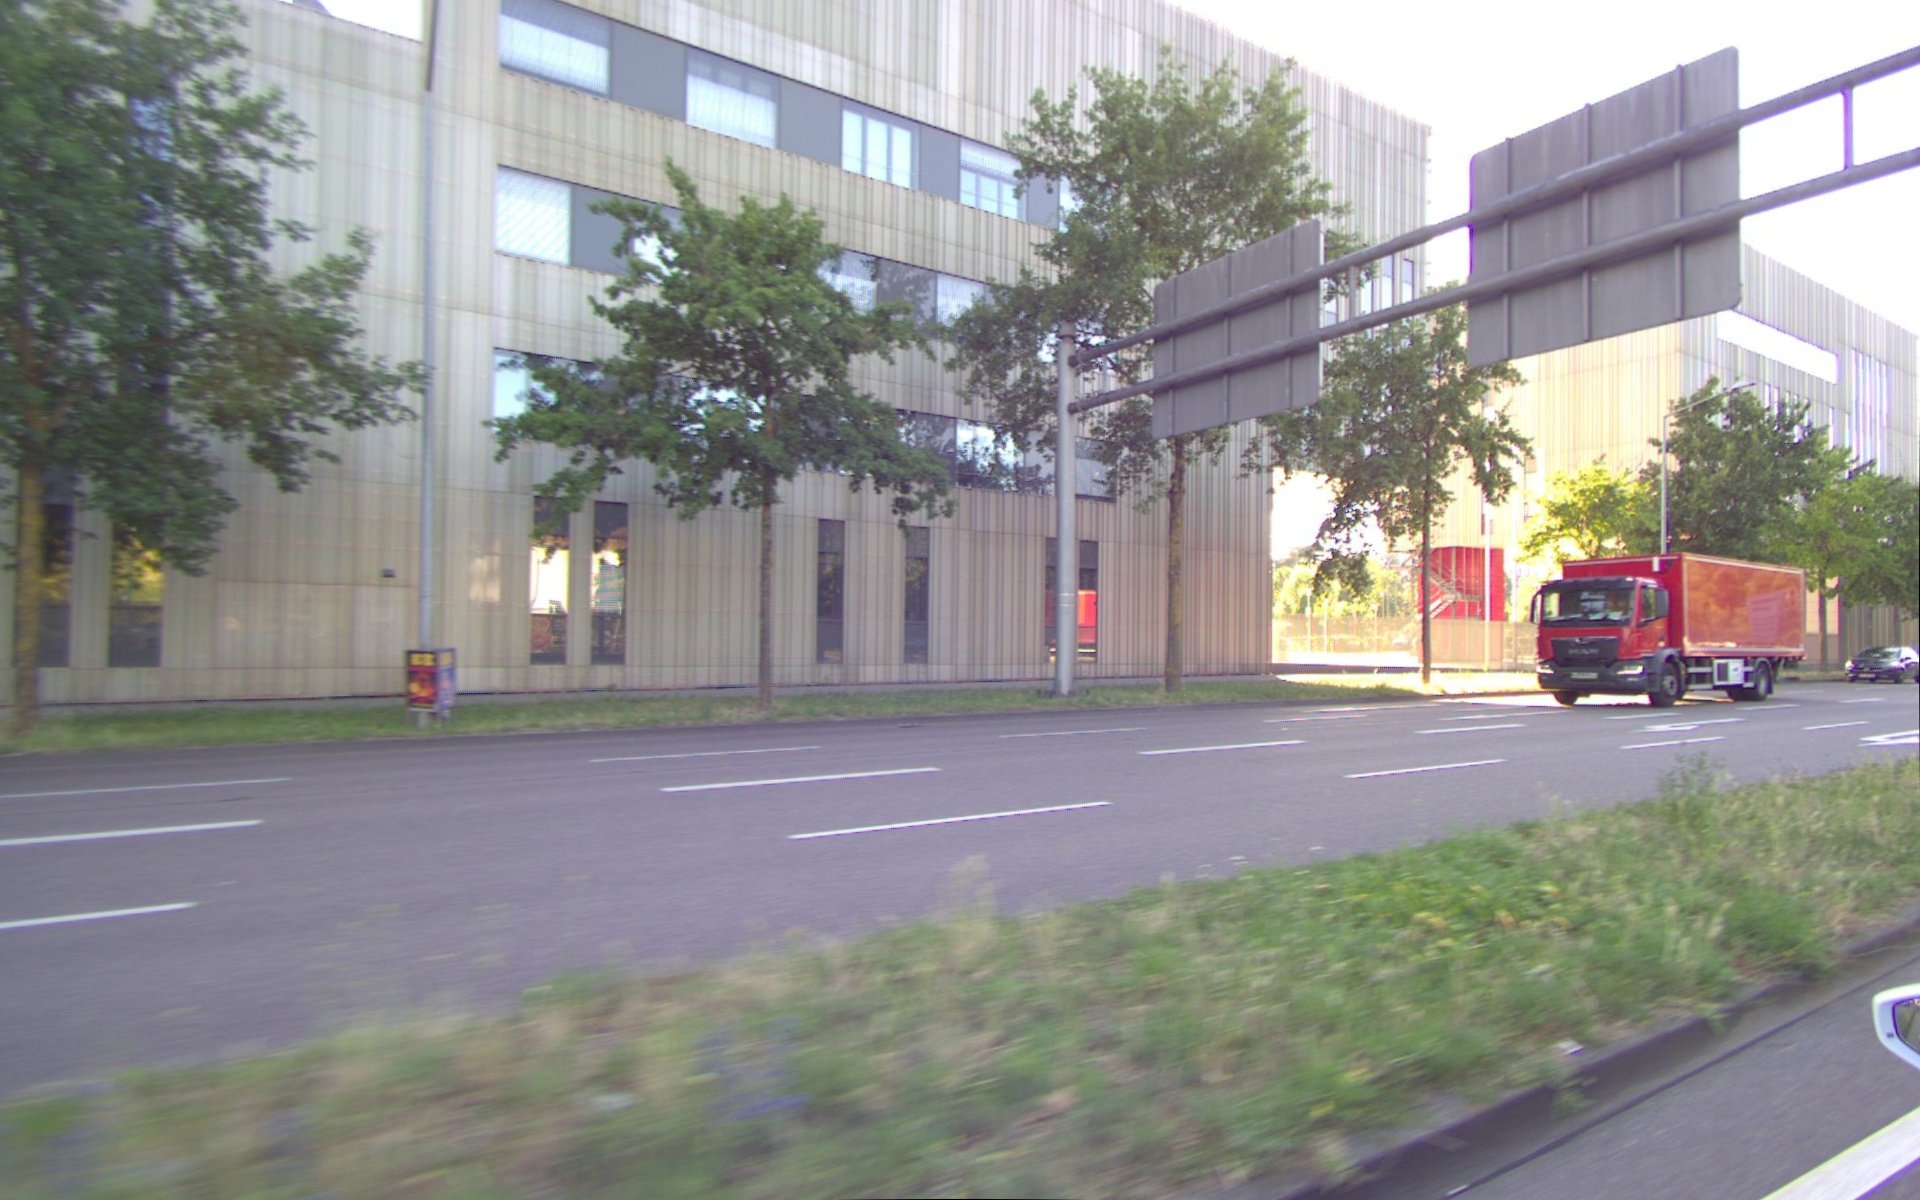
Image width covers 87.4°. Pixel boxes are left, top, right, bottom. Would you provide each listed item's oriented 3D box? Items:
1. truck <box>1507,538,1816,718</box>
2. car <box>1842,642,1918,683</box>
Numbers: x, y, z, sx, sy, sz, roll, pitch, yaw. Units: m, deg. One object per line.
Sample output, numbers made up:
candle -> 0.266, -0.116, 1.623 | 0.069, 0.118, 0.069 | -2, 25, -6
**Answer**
truck -> 18.063, 0.745, 25.551 | 9.981, 3.861, 2.981 | 2, -2, -33
car -> 37.091, 2.481, 40.484 | 3.831, 1.532, 1.584 | 2, -2, -37
